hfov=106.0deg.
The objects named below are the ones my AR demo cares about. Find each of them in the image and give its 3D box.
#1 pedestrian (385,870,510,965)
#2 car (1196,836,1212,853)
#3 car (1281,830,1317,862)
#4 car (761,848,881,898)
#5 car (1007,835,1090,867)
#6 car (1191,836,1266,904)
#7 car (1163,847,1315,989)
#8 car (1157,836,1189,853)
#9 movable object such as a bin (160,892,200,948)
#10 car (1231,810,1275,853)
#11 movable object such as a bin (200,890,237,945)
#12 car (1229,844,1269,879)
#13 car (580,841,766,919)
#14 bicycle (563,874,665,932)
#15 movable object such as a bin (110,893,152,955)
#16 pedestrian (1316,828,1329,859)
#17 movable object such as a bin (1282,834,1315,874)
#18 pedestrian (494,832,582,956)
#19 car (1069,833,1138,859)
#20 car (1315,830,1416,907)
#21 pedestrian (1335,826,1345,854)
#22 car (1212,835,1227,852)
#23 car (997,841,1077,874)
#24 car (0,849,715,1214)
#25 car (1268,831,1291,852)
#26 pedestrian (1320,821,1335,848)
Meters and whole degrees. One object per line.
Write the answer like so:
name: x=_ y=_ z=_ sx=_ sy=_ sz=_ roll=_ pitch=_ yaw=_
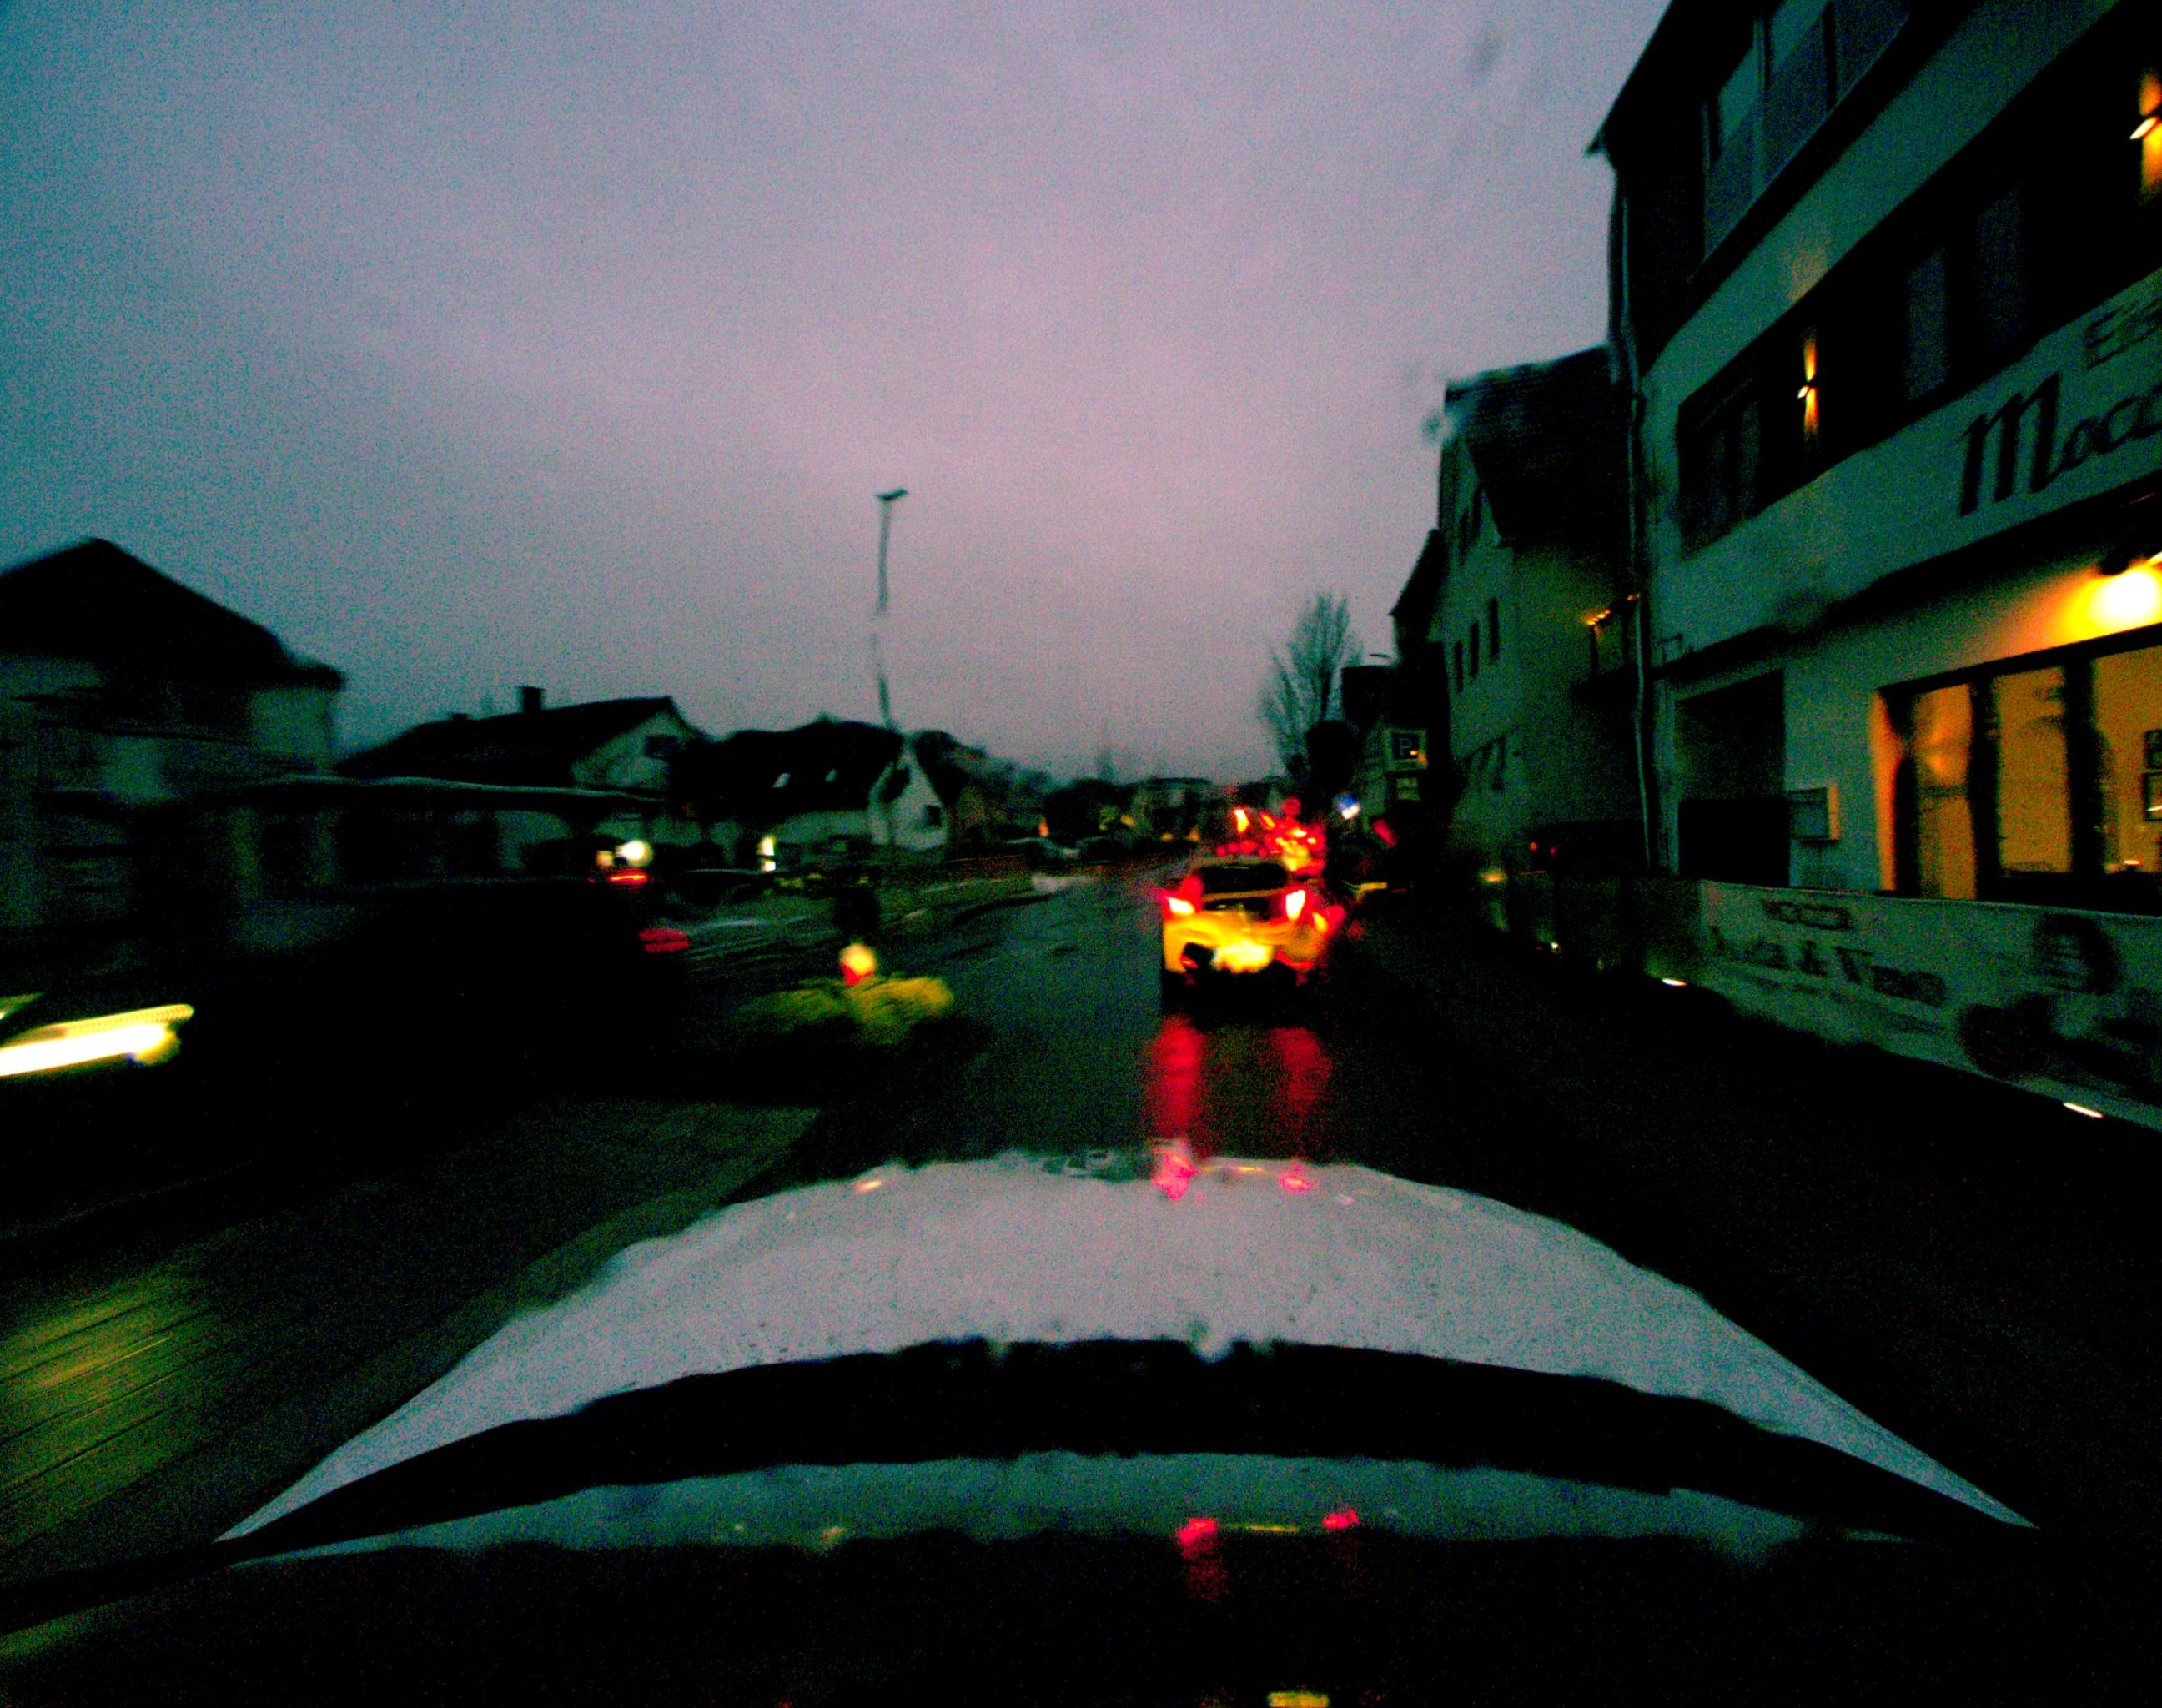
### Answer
pedestrian: x=-8.600 y=0.837 z=11.089 sx=0.980 sy=1.158 sz=0.907 roll=-1 pitch=3 yaw=21
car: x=15.614 y=-1.169 z=103.049 sx=1.908 sy=2.027 sz=3.986 roll=-1 pitch=-1 yaw=10
car: x=12.696 y=-0.495 z=47.637 sx=1.724 sy=1.692 sz=4.400 roll=-2 pitch=1 yaw=11
car: x=-9.113 y=0.605 z=29.016 sx=1.789 sy=1.482 sz=4.589 roll=-4 pitch=0 yaw=14
car: x=-1.639 y=-0.144 z=41.410 sx=3.763 sy=1.523 sz=1.723 roll=-1 pitch=0 yaw=18
car: x=3.926 y=0.358 z=21.478 sx=1.755 sy=1.628 sz=3.598 roll=-1 pitch=1 yaw=12
car: x=1.951 y=0.657 z=9.998 sx=1.552 sy=1.412 sz=3.028 roll=-1 pitch=1 yaw=12
car: x=12.495 y=-1.218 z=110.520 sx=2.008 sy=2.166 sz=4.339 roll=0 pitch=-1 yaw=-34
movable object such as a bin: x=-18.809 y=1.369 z=17.004 sx=0.285 sy=1.120 sz=0.455 roll=-1 pitch=-1 yaw=17
car: x=13.602 y=-1.692 z=64.421 sx=3.170 sy=3.031 sz=6.325 roll=-1 pitch=-1 yaw=12
movable object such as a bin: x=-18.610 y=1.358 z=17.576 sx=0.285 sy=1.142 sz=0.455 roll=-1 pitch=-1 yaw=17
car: x=7.059 y=0.292 z=34.232 sx=1.531 sy=1.331 sz=3.322 roll=-1 pitch=1 yaw=12
car: x=-10.995 y=0.618 z=22.391 sx=1.741 sy=1.700 sz=4.586 roll=-5 pitch=1 yaw=18
bicycle: x=-9.309 y=0.953 z=16.291 sx=0.465 sy=1.010 sz=1.750 roll=-2 pitch=1 yaw=28
movable object such as a bin: x=-19.027 y=1.397 z=16.320 sx=0.285 sy=1.210 sz=0.455 roll=-1 pitch=-1 yaw=17
pedestrian: x=13.666 y=-0.573 z=46.056 sx=0.569 sy=1.699 sz=0.655 roll=-4 pitch=0 yaw=13
movable object such as a bin: x=8.453 y=-0.006 z=31.729 sx=1.121 sy=1.420 sz=1.423 roll=-5 pitch=1 yaw=14
pedestrian: x=-7.913 y=0.562 z=11.892 sx=0.743 sy=1.742 sz=0.690 roll=-1 pitch=1 yaw=12
car: x=1.632 y=-0.584 z=57.534 sx=4.598 sy=1.667 sz=2.005 roll=-1 pitch=0 yaw=9
car: x=6.473 y=0.248 z=18.920 sx=1.716 sy=1.464 sz=4.215 roll=-5 pitch=1 yaw=14
pedestrian: x=15.243 y=-0.818 z=47.917 sx=0.524 sy=1.653 sz=0.959 roll=-1 pitch=-1 yaw=22
car: x=18.762 y=-1.357 z=110.497 sx=1.908 sy=2.215 sz=3.986 roll=-1 pitch=-1 yaw=10
car: x=-2.071 y=0.158 z=38.765 sx=3.422 sy=1.372 sz=1.606 roll=-3 pitch=1 yaw=11
car: x=-4.684 y=0.757 z=5.571 sx=1.688 sy=1.503 sz=3.918 roll=-1 pitch=1 yaw=19
car: x=19.194 y=-1.197 z=78.931 sx=1.984 sy=1.864 sz=4.097 roll=-1 pitch=0 yaw=12
pedestrian: x=16.283 y=-1.306 z=53.781 sx=0.705 sy=1.715 sz=1.040 roll=-3 pitch=1 yaw=25
